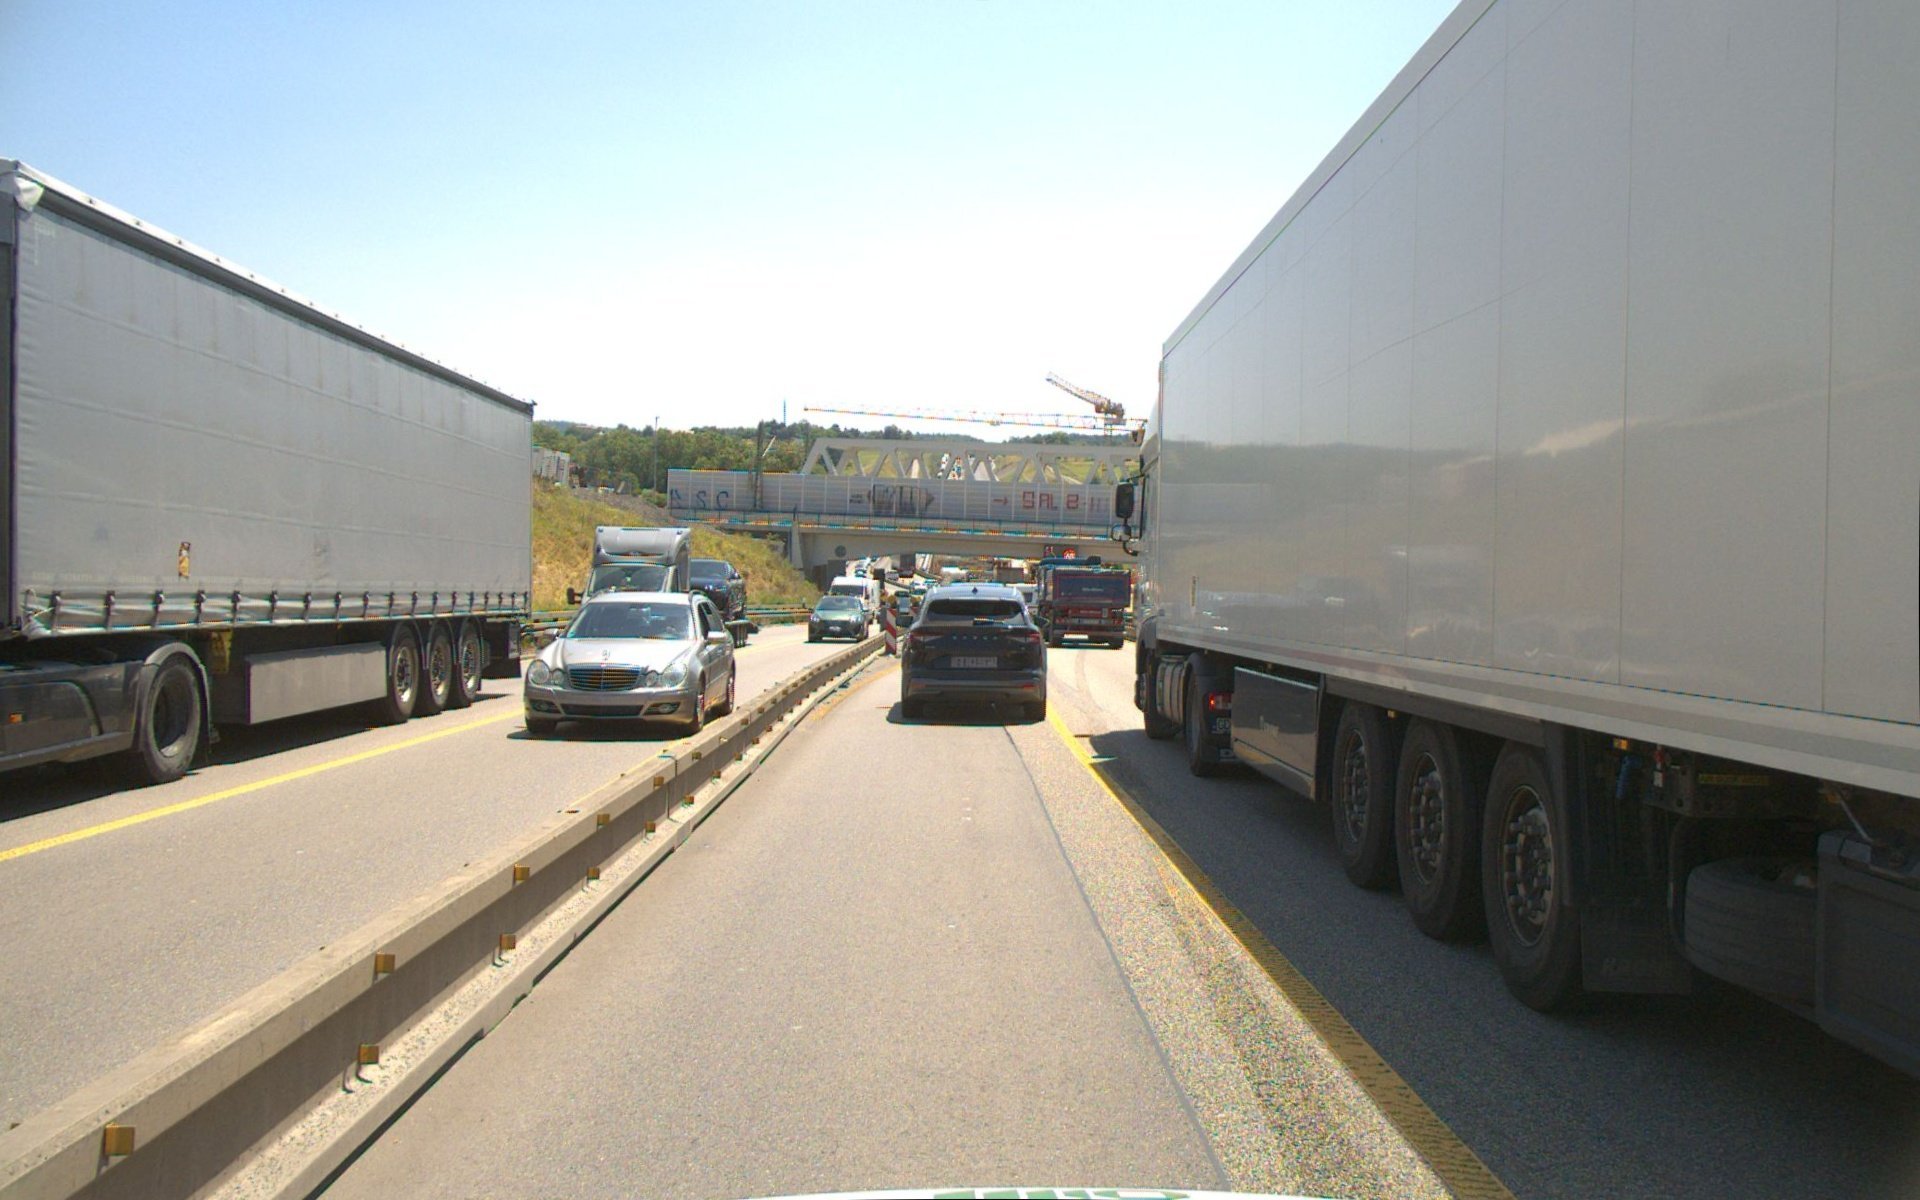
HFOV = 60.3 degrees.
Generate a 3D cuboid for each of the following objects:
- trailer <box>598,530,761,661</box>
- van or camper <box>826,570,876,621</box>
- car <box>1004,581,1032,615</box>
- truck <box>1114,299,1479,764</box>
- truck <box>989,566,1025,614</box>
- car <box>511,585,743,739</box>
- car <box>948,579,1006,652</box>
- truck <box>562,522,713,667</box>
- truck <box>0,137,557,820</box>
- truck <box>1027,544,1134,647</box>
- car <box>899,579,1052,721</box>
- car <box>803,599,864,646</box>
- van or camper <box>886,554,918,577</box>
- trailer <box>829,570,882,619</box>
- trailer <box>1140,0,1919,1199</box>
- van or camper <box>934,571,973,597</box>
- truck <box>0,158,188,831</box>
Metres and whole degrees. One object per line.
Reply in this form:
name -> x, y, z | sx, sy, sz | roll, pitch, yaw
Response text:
trailer -> -7.139, -0.118, 44.041 | 2.222, 2.932, 13.040 | 1, 0, -1
van or camper -> -5.700, -0.226, 86.852 | 2.170, 2.524, 4.751 | 1, 0, 1
car -> 4.069, -0.126, 116.926 | 1.628, 2.309, 3.795 | 2, 0, -2
truck -> 3.251, -0.618, 17.278 | 2.720, 4.129, 4.904 | 1, 0, -1
truck -> 4.445, -0.971, 157.540 | 3.111, 4.393, 9.257 | 1, 0, 0
car -> -3.571, 0.606, 18.479 | 1.789, 1.513, 4.195 | 1, 0, -1
car -> 0.452, 0.383, 44.361 | 1.444, 1.826, 3.298 | 2, 0, 1
truck -> -7.066, -0.115, 36.919 | 2.222, 2.932, 5.850 | 1, 0, -1
truck -> -7.118, -0.798, 16.946 | 2.711, 4.159, 13.803 | 1, 0, -1
truck -> 4.041, -0.159, 58.374 | 2.756, 3.189, 12.836 | 1, 0, 0
car -> 0.157, 0.589, 21.002 | 1.764, 1.649, 3.297 | 1, 0, -1
car -> -4.047, 0.714, 53.538 | 1.632, 1.453, 4.000 | 0, 0, 0
van or camper -> -9.199, -5.415, 261.247 | 3.873, 3.479, 8.384 | 1, 1, -11
trailer -> -5.654, -0.262, 90.365 | 2.170, 2.524, 8.527 | 1, 0, 1
trailer -> 3.321, -0.554, 10.026 | 2.744, 4.129, 14.115 | 1, 0, -1
van or camper -> -0.946, -2.196, 226.689 | 3.873, 3.479, 8.384 | 1, 1, -11
truck -> -6.995, -0.636, 9.557 | 2.711, 3.952, 4.963 | 1, 0, -1
